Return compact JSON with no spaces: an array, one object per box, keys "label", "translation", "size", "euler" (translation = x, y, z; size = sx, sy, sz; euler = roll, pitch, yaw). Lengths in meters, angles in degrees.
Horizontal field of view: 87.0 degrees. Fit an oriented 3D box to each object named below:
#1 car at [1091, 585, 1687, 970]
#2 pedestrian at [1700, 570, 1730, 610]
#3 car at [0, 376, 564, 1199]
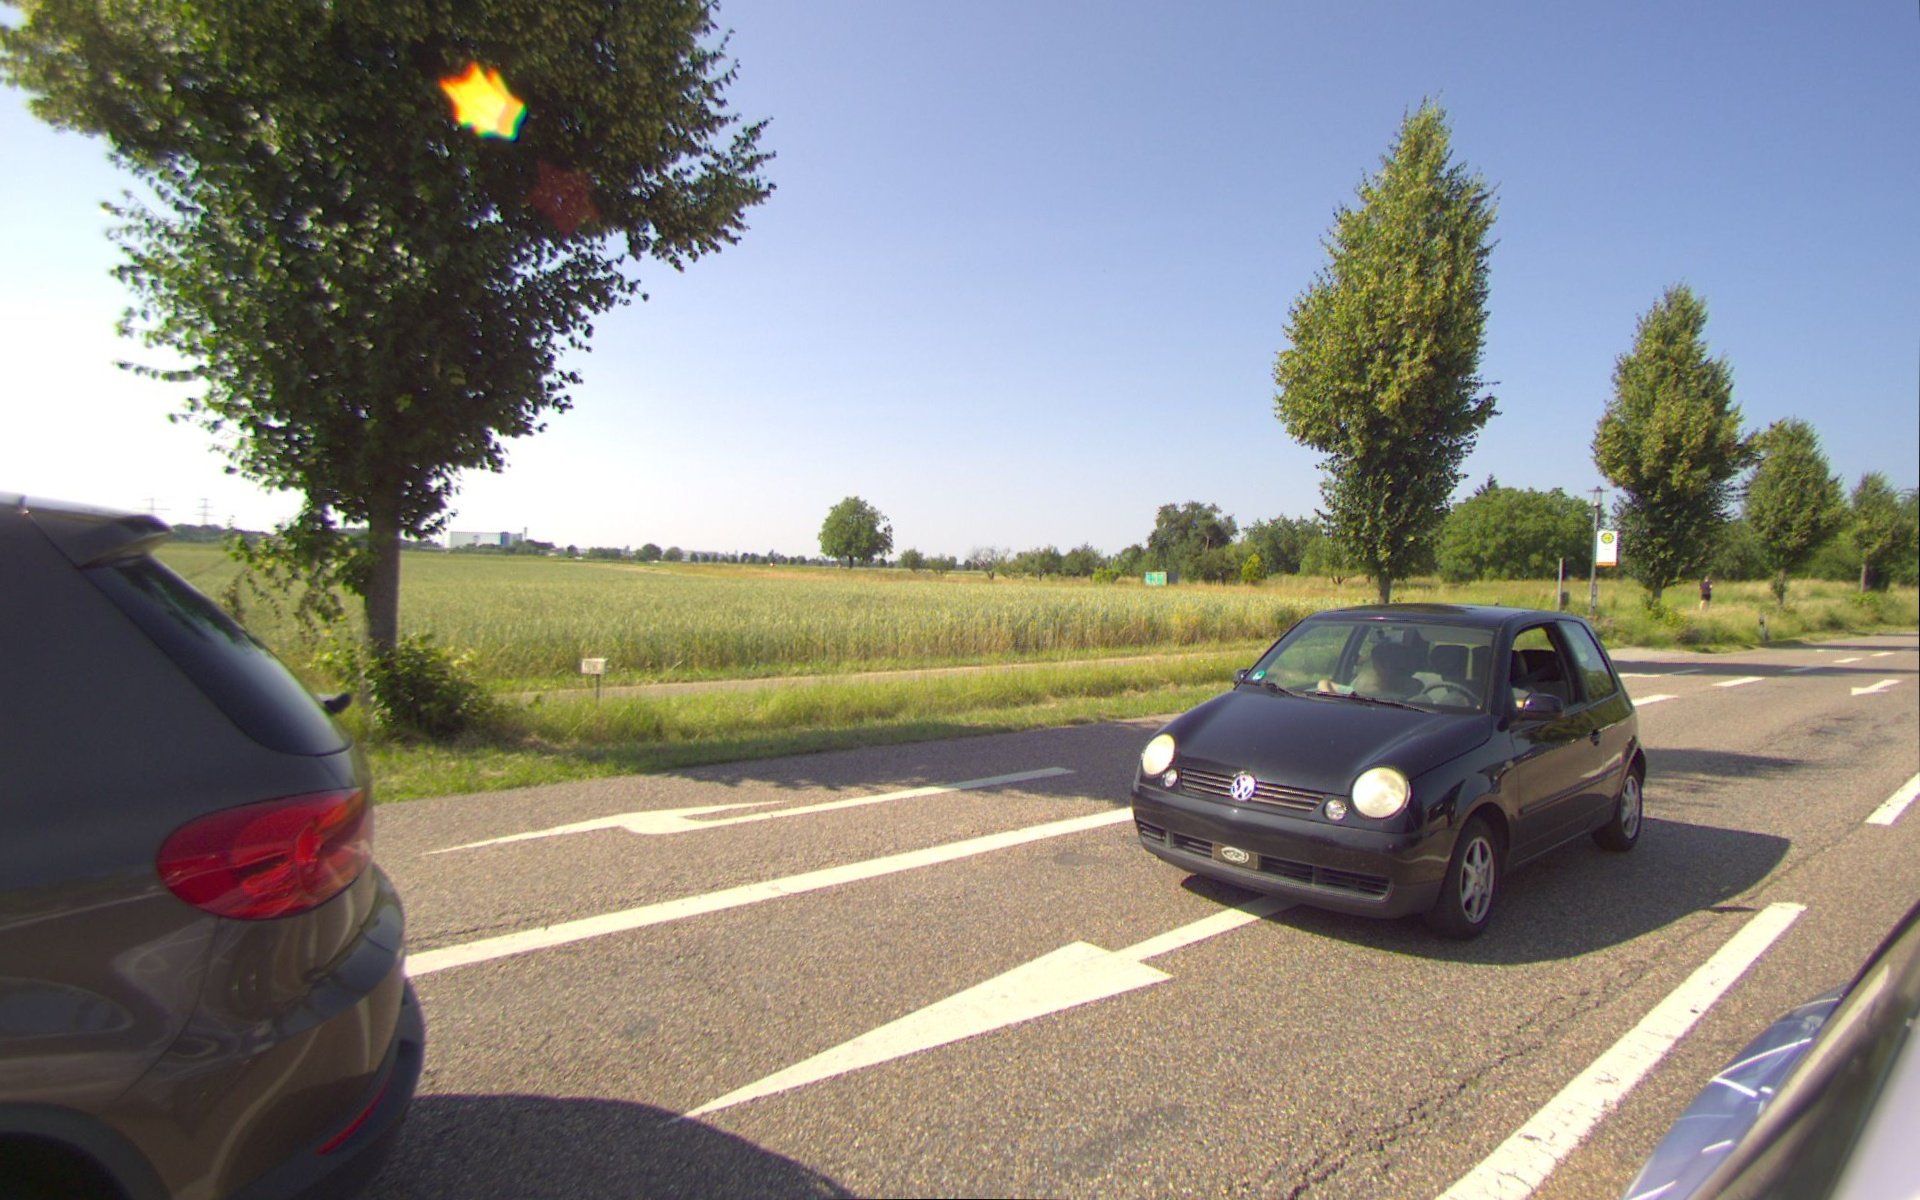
[{"label":"car","translation":[2.531,0.657,5.598],"size":[3.559,1.451,1.628],"euler":[0,0,-41]},{"label":"pedestrian","translation":[35.660,-0.466,47.777],"size":[1.174,1.862,0.903],"euler":[0,2,-43]},{"label":"car","translation":[-2.792,0.549,1.090],"size":[4.075,1.676,1.758],"euler":[0,0,-42]}]
